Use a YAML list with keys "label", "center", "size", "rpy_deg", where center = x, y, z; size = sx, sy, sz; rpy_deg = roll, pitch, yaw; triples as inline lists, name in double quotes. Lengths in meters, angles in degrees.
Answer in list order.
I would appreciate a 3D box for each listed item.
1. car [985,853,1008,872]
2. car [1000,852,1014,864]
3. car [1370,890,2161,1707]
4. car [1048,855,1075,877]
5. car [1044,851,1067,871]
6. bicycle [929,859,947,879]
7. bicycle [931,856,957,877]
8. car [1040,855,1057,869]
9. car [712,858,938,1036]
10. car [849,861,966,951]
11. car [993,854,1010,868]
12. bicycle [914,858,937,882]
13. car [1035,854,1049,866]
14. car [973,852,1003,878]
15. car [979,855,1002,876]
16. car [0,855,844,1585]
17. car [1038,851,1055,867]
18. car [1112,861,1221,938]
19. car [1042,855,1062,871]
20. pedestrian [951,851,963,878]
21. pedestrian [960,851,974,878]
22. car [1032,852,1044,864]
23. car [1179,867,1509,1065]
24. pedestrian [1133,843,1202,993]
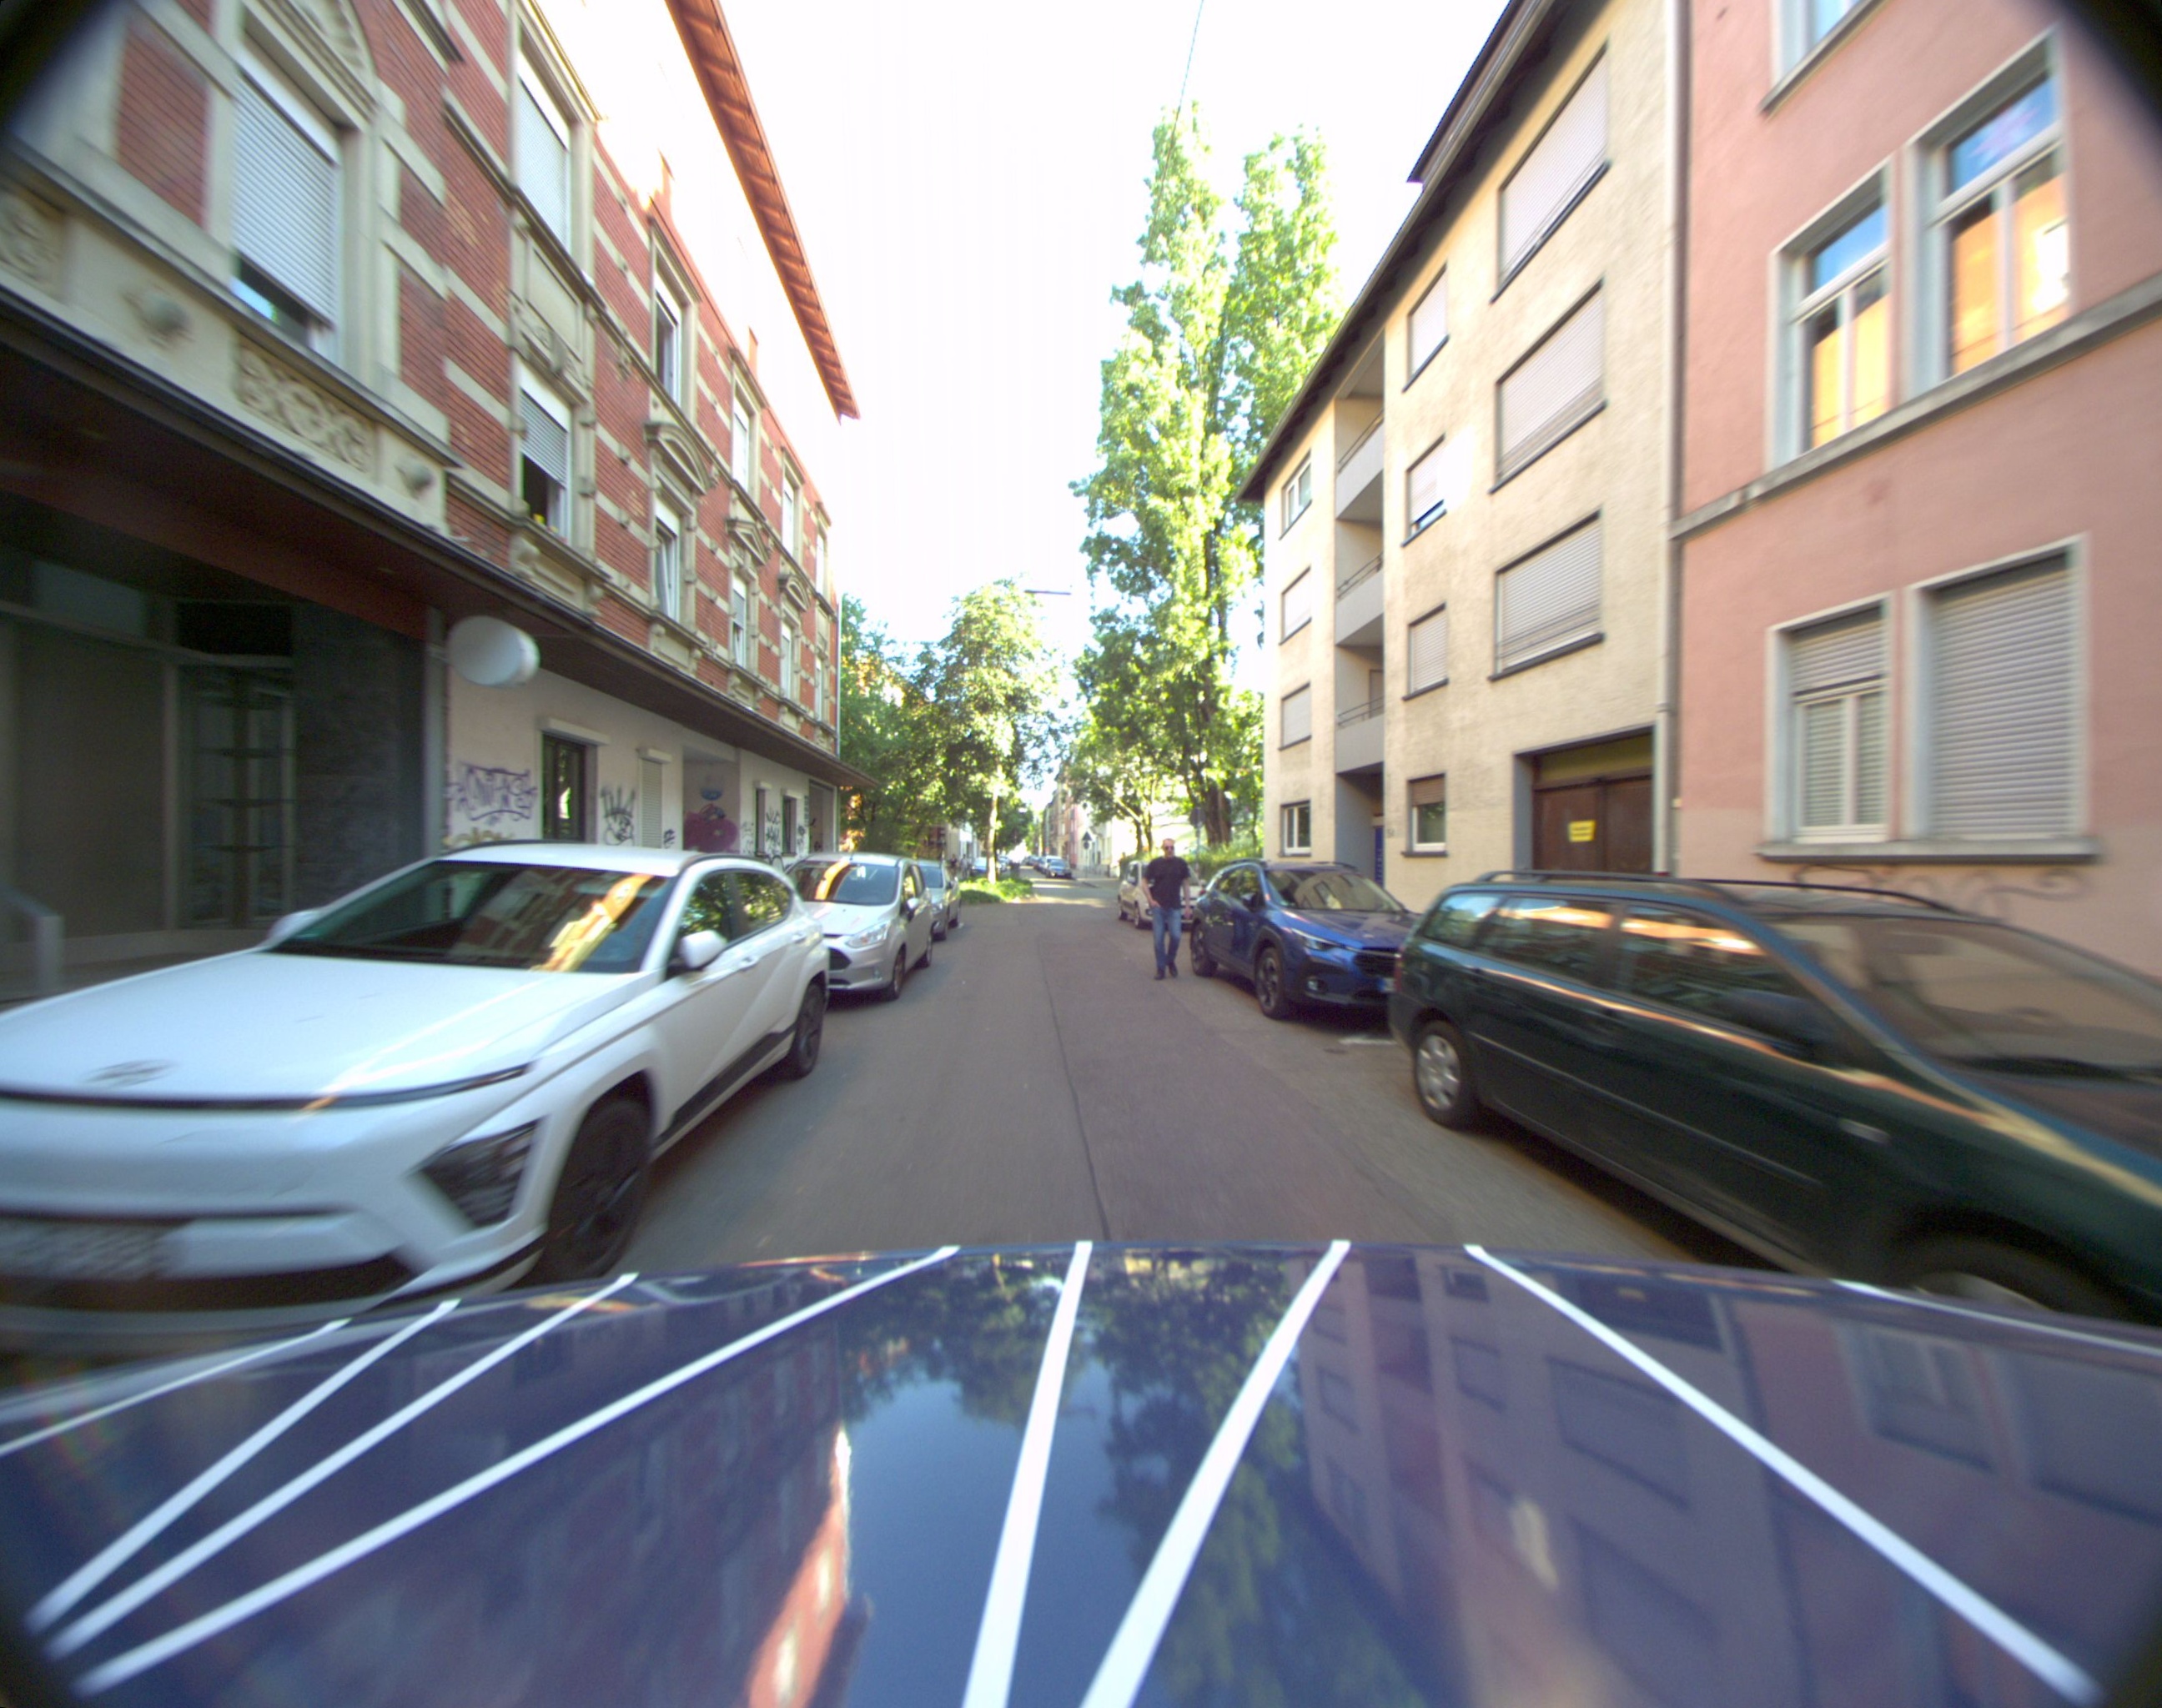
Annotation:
- label: "car"
  center: [-7.661, 0.769, 68.890]
  size: [1.771, 1.657, 4.327]
  rpy_deg: [1, 0, -3]
- label: "car"
  center: [-12.438, 0.637, 127.925]
  size: [1.866, 1.970, 4.480]
  rpy_deg: [3, 0, -1]
- label: "car"
  center: [2.954, 1.019, 2.992]
  size: [1.680, 1.503, 4.412]
  rpy_deg: [1, 0, -4]
- label: "car"
  center: [-1.538, 0.895, 58.247]
  size: [1.784, 1.435, 4.390]
  rpy_deg: [3, 0, -5]
- label: "car"
  center: [-2.417, 0.626, 71.660]
  size: [1.755, 1.731, 4.312]
  rpy_deg: [3, 0, -6]
- label: "bicycle"
  center: [-8.876, 0.924, 47.240]
  size: [0.849, 1.193, 1.981]
  rpy_deg: [1, 0, -3]
- label: "bicycle"
  center: [-8.989, 0.779, 49.881]
  size: [1.294, 1.294, 2.326]
  rpy_deg: [3, 0, -2]
- label: "car"
  center: [-3.677, 0.901, 85.648]
  size: [1.769, 1.463, 3.814]
  rpy_deg: [3, 0, -5]
- label: "car"
  center: [-2.802, 0.892, 9.189]
  size: [1.645, 1.646, 3.867]
  rpy_deg: [0, 0, -4]
- label: "car"
  center: [-3.365, 0.933, 15.500]
  size: [1.726, 1.553, 4.396]
  rpy_deg: [0, 0, -5]
- label: "car"
  center: [-9.040, 0.793, 86.765]
  size: [1.769, 1.508, 4.101]
  rpy_deg: [3, 0, -5]
- label: "bicycle"
  center: [-8.522, 0.841, 41.757]
  size: [0.849, 1.260, 2.691]
  rpy_deg: [1, 0, -3]
- label: "car"
  center: [-5.422, 0.839, 106.130]
  size: [1.769, 1.524, 4.101]
  rpy_deg: [3, 0, -5]
- label: "car"
  center: [-6.051, 0.671, 49.539]
  size: [1.726, 1.485, 4.410]
  rpy_deg: [3, 0, -7]
- label: "car"
  center: [-7.097, 0.854, 59.763]
  size: [1.598, 1.576, 3.762]
  rpy_deg: [2, 0, -5]
- label: "car"
  center: [-2.666, 0.868, 3.932]
  size: [1.751, 1.666, 4.338]
  rpy_deg: [1, 0, -4]
- label: "car"
  center: [-4.143, 0.602, 90.972]
  size: [1.769, 1.814, 4.101]
  rpy_deg: [3, 0, -5]
- label: "car"
  center: [1.896, 0.988, 17.950]
  size: [1.680, 1.531, 3.866]
  rpy_deg: [1, 0, -7]
- label: "car"
  center: [-2.890, 0.899, 76.575]
  size: [1.675, 1.519, 4.085]
  rpy_deg: [3, 0, 1]
- label: "pedestrian"
  center: [-8.008, 0.651, 48.913]
  size: [0.599, 1.699, 0.706]
  rpy_deg: [4, 0, -5]
- label: "pedestrian"
  center: [-7.386, 0.688, 49.342]
  size: [0.712, 1.699, 0.752]
  rpy_deg: [4, 0, -5]
- label: "car"
  center: [-7.642, 0.691, 134.942]
  size: [1.769, 1.846, 3.991]
  rpy_deg: [3, 0, -5]
- label: "car"
  center: [2.517, 0.995, 8.578]
  size: [1.735, 1.531, 4.374]
  rpy_deg: [2, 0, -7]
- label: "pedestrian"
  center: [1.088, 0.786, 9.737]
  size: [0.673, 1.829, 0.910]
  rpy_deg: [1, 1, -5]
